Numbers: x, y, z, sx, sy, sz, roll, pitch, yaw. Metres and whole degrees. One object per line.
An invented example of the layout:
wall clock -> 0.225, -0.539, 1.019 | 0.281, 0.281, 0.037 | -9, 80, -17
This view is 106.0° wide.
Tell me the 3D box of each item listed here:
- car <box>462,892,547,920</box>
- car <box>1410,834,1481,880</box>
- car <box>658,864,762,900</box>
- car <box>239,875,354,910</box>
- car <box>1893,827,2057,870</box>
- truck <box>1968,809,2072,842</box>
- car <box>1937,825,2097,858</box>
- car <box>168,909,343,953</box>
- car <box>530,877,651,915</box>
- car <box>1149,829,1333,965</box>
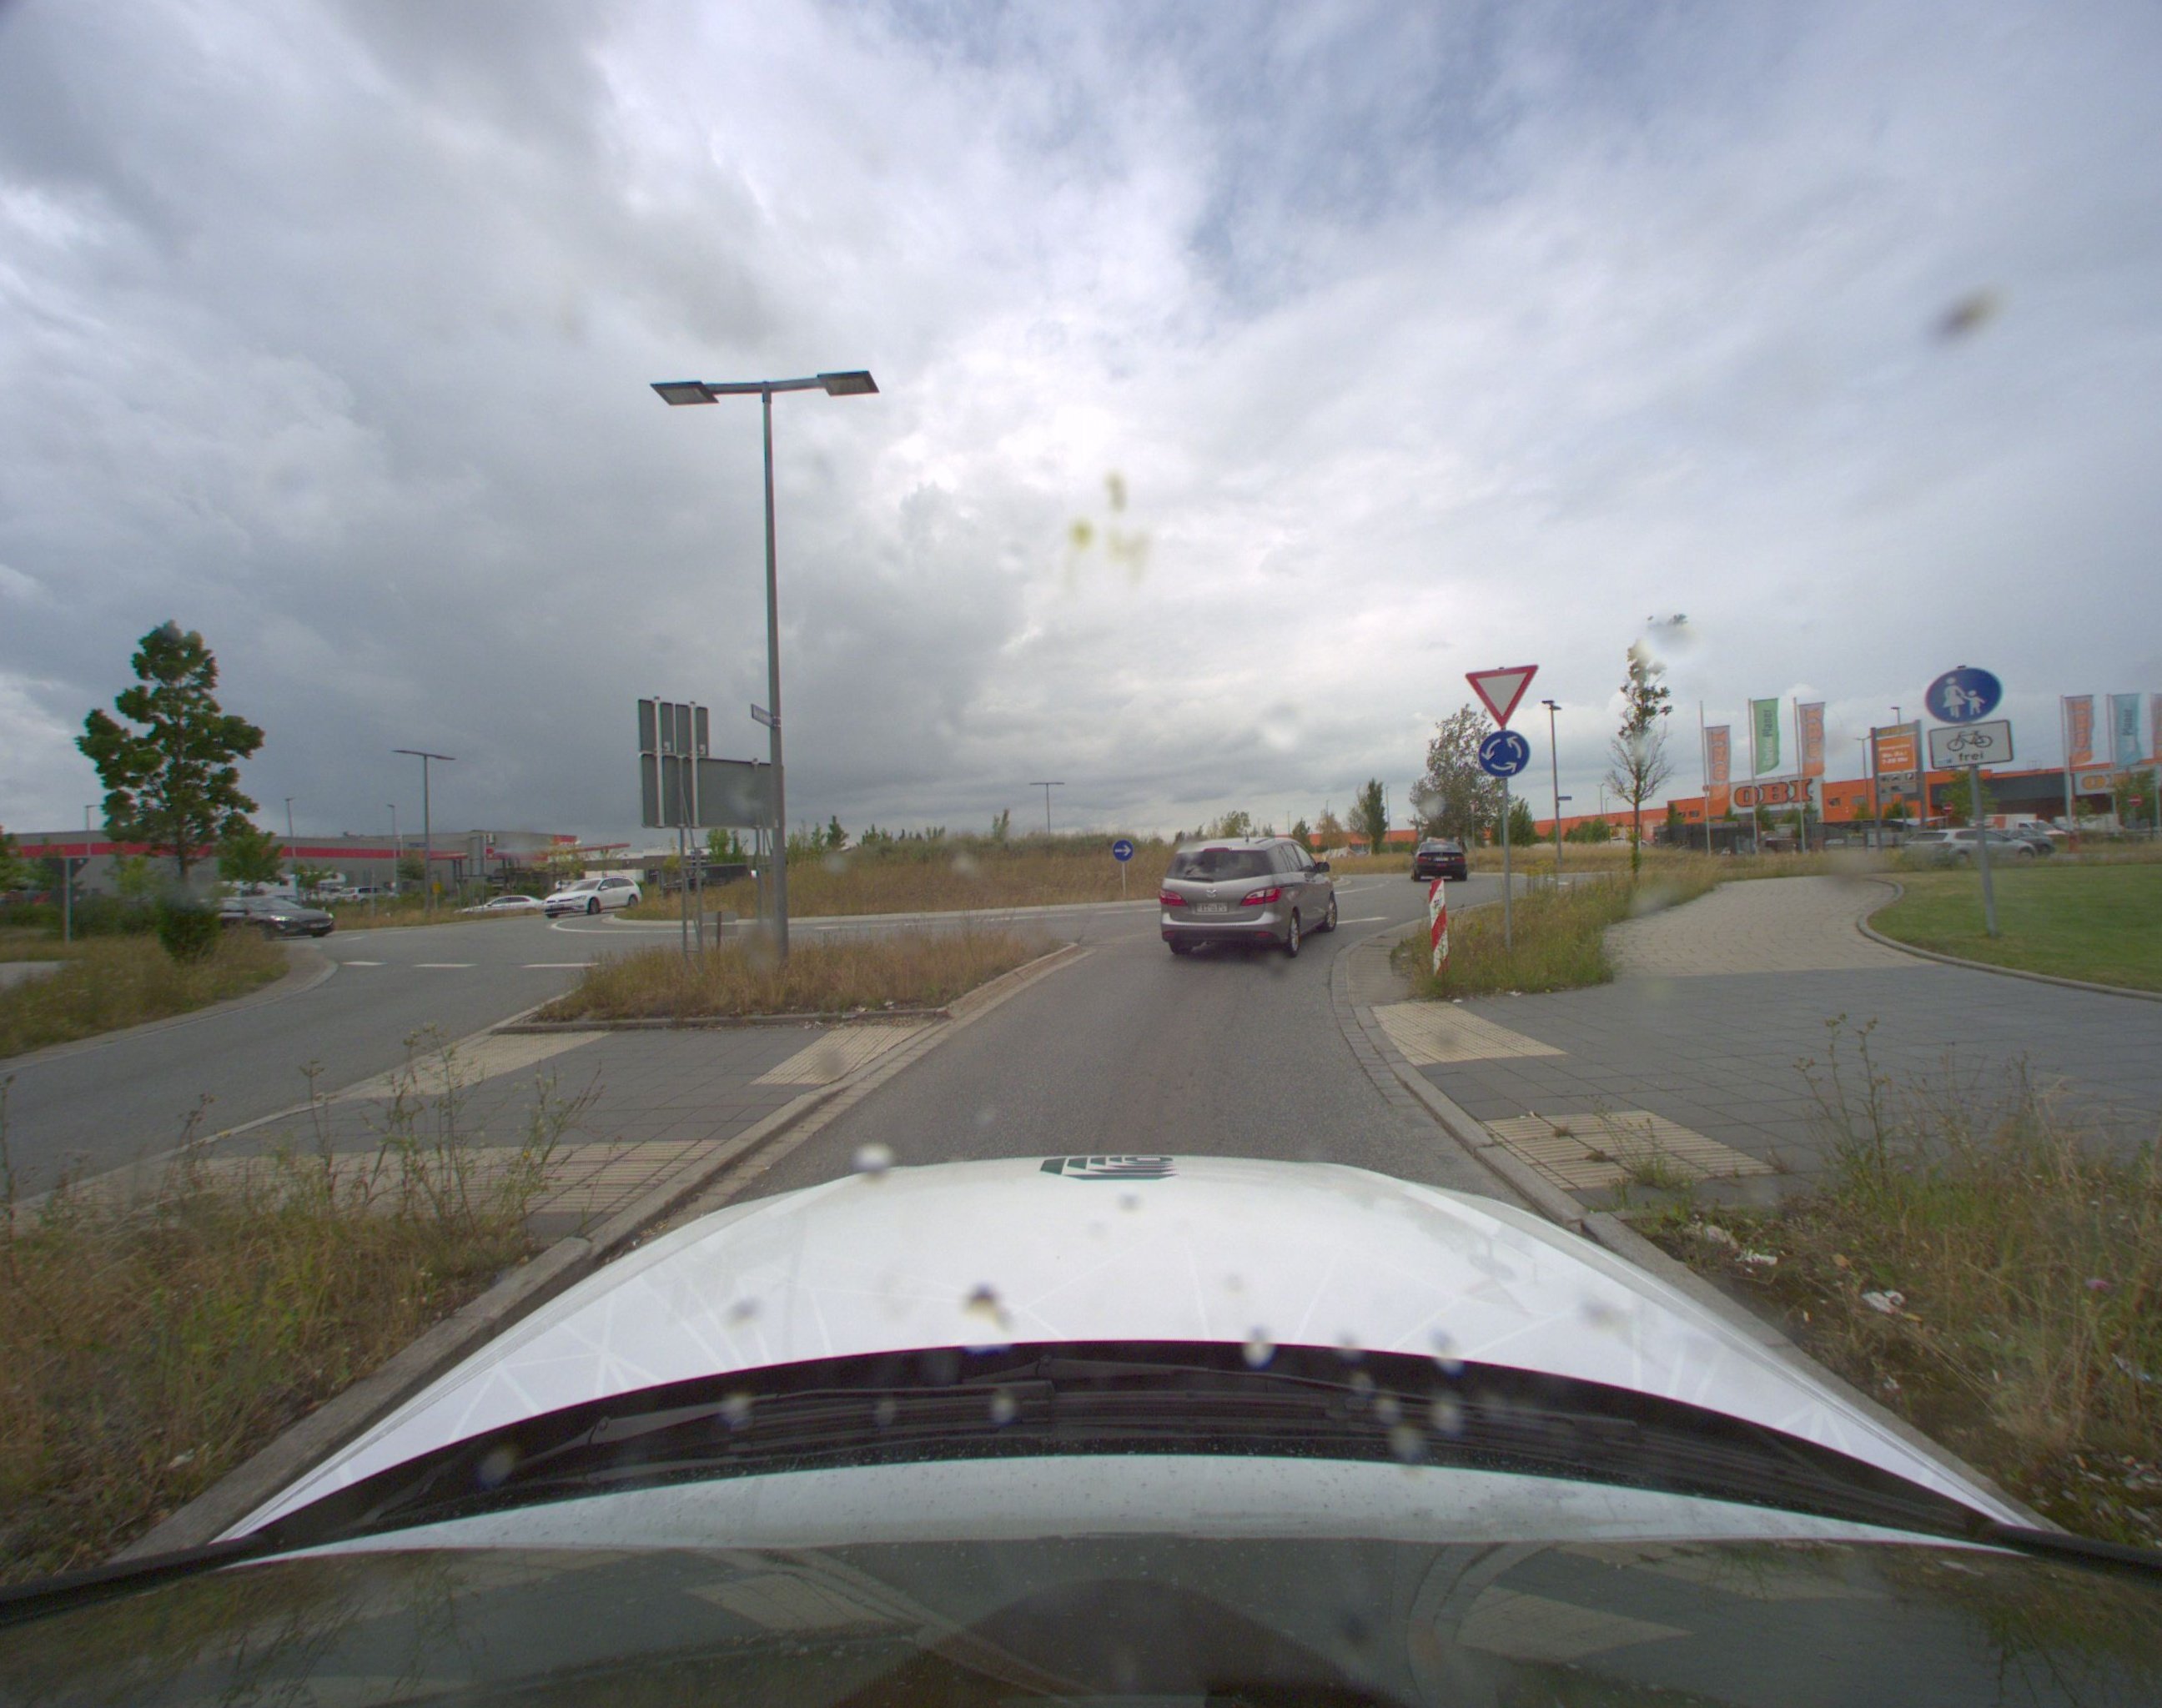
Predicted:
car -> -32.099, 2.872, 45.468 | 3.759, 1.301, 1.485 | -2, -1, -31
car -> 12.508, 0.063, 27.847 | 1.721, 1.403, 4.023 | -1, 1, 31
car -> -18.625, 1.401, 40.905 | 4.654, 1.753, 1.712 | 1, -3, -28
car -> -67.497, 3.306, 70.367 | 2.456, 2.820, 7.684 | 0, -2, -1
car -> 33.329, -0.225, 30.455 | 3.967, 1.464, 1.817 | -1, 2, 5
truck -> 81.908, -2.434, 71.169 | 2.429, 2.484, 5.537 | 0, -2, -6
car -> 42.156, -0.550, 36.784 | 4.647, 1.404, 1.932 | -1, 0, 7
car -> -26.312, 2.443, 26.082 | 3.581, 1.251, 1.671 | 0, -2, -8
car -> -19.526, 1.657, 32.688 | 1.714, 1.409, 4.649 | -1, -2, 5
car -> 2.553, 0.479, 12.130 | 1.722, 1.598, 4.022 | -1, 2, 25
